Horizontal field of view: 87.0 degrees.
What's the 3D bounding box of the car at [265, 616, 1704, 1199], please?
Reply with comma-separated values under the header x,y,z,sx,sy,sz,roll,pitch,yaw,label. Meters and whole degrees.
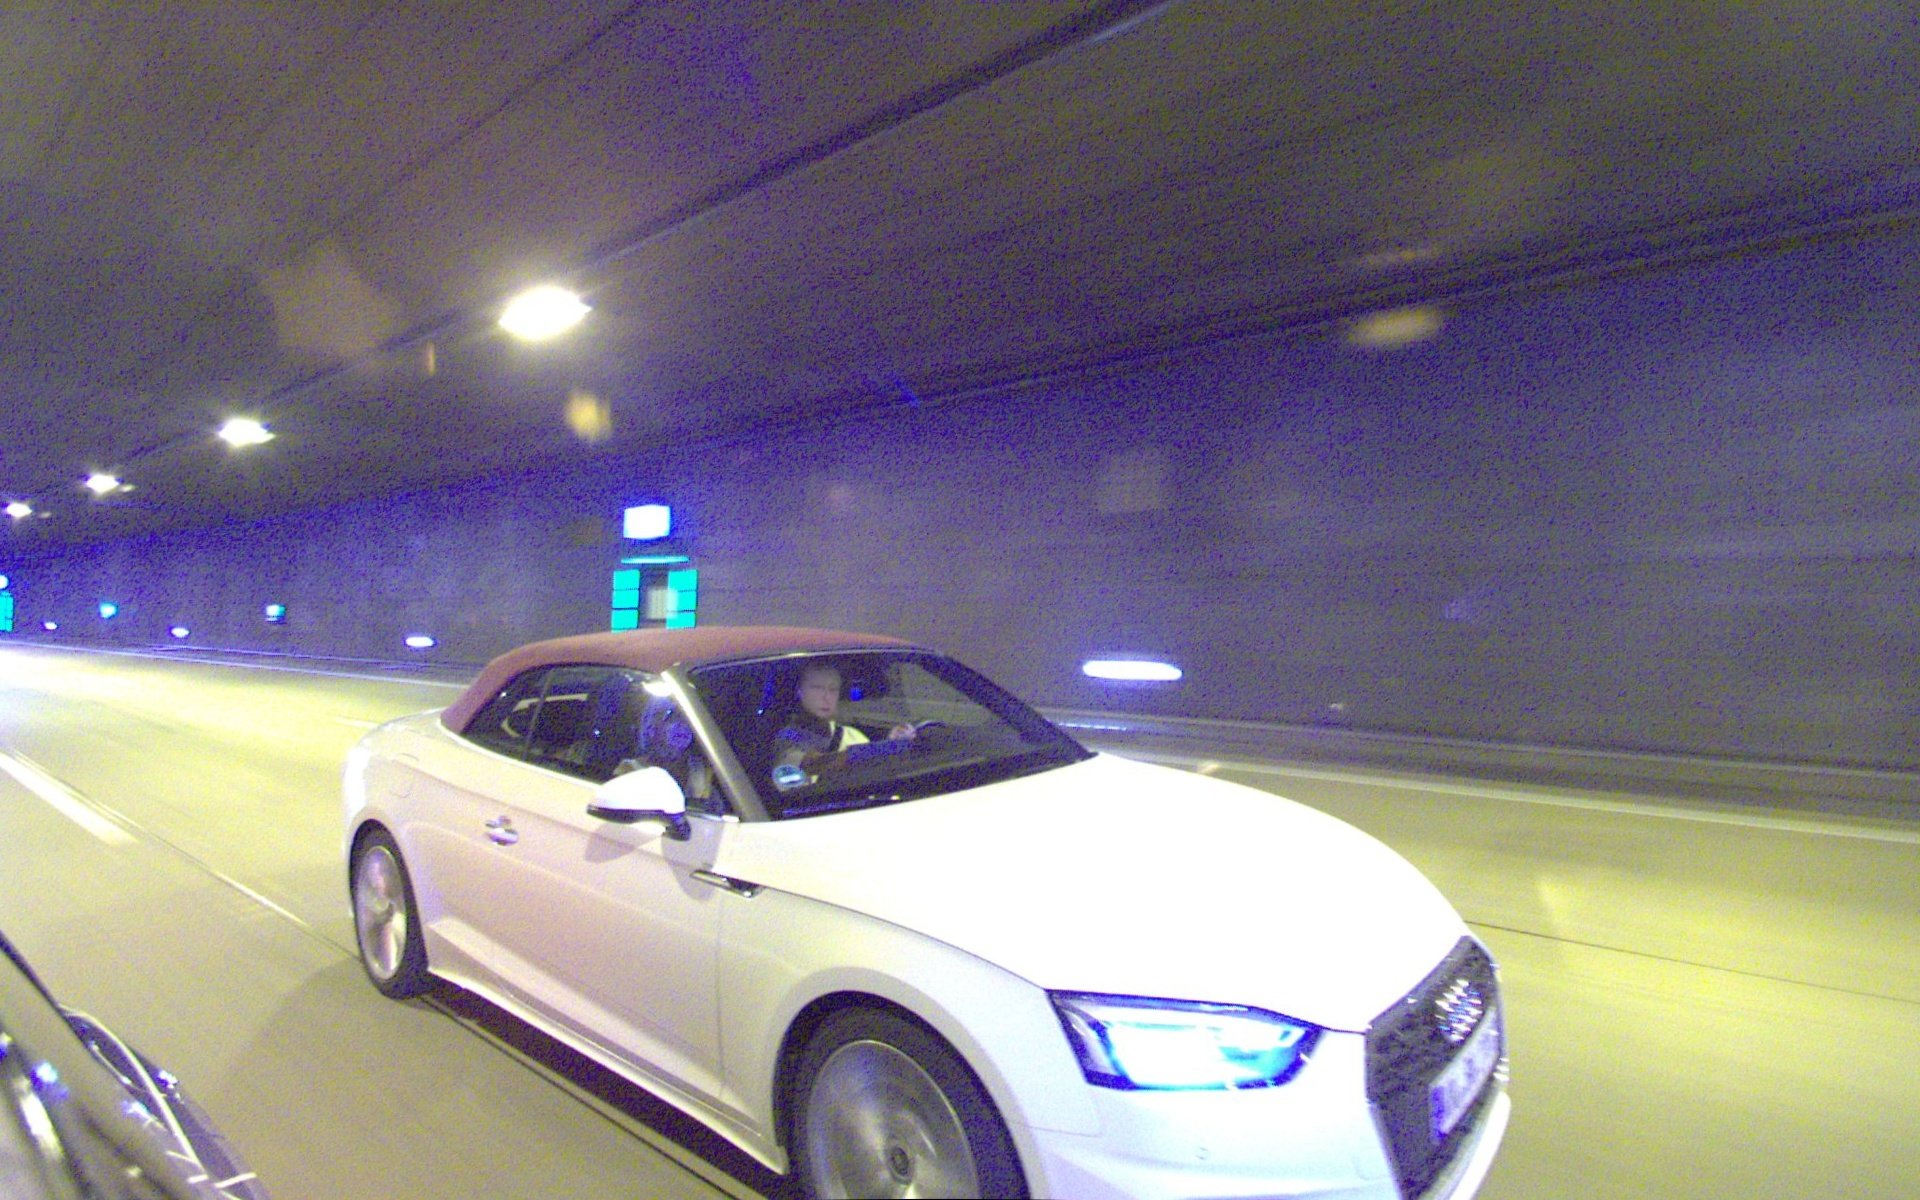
x,y,z,sx,sy,sz,roll,pitch,yaw,label
-0.637,0.796,3.487,5.057,1.429,1.684,0,-1,41,car
